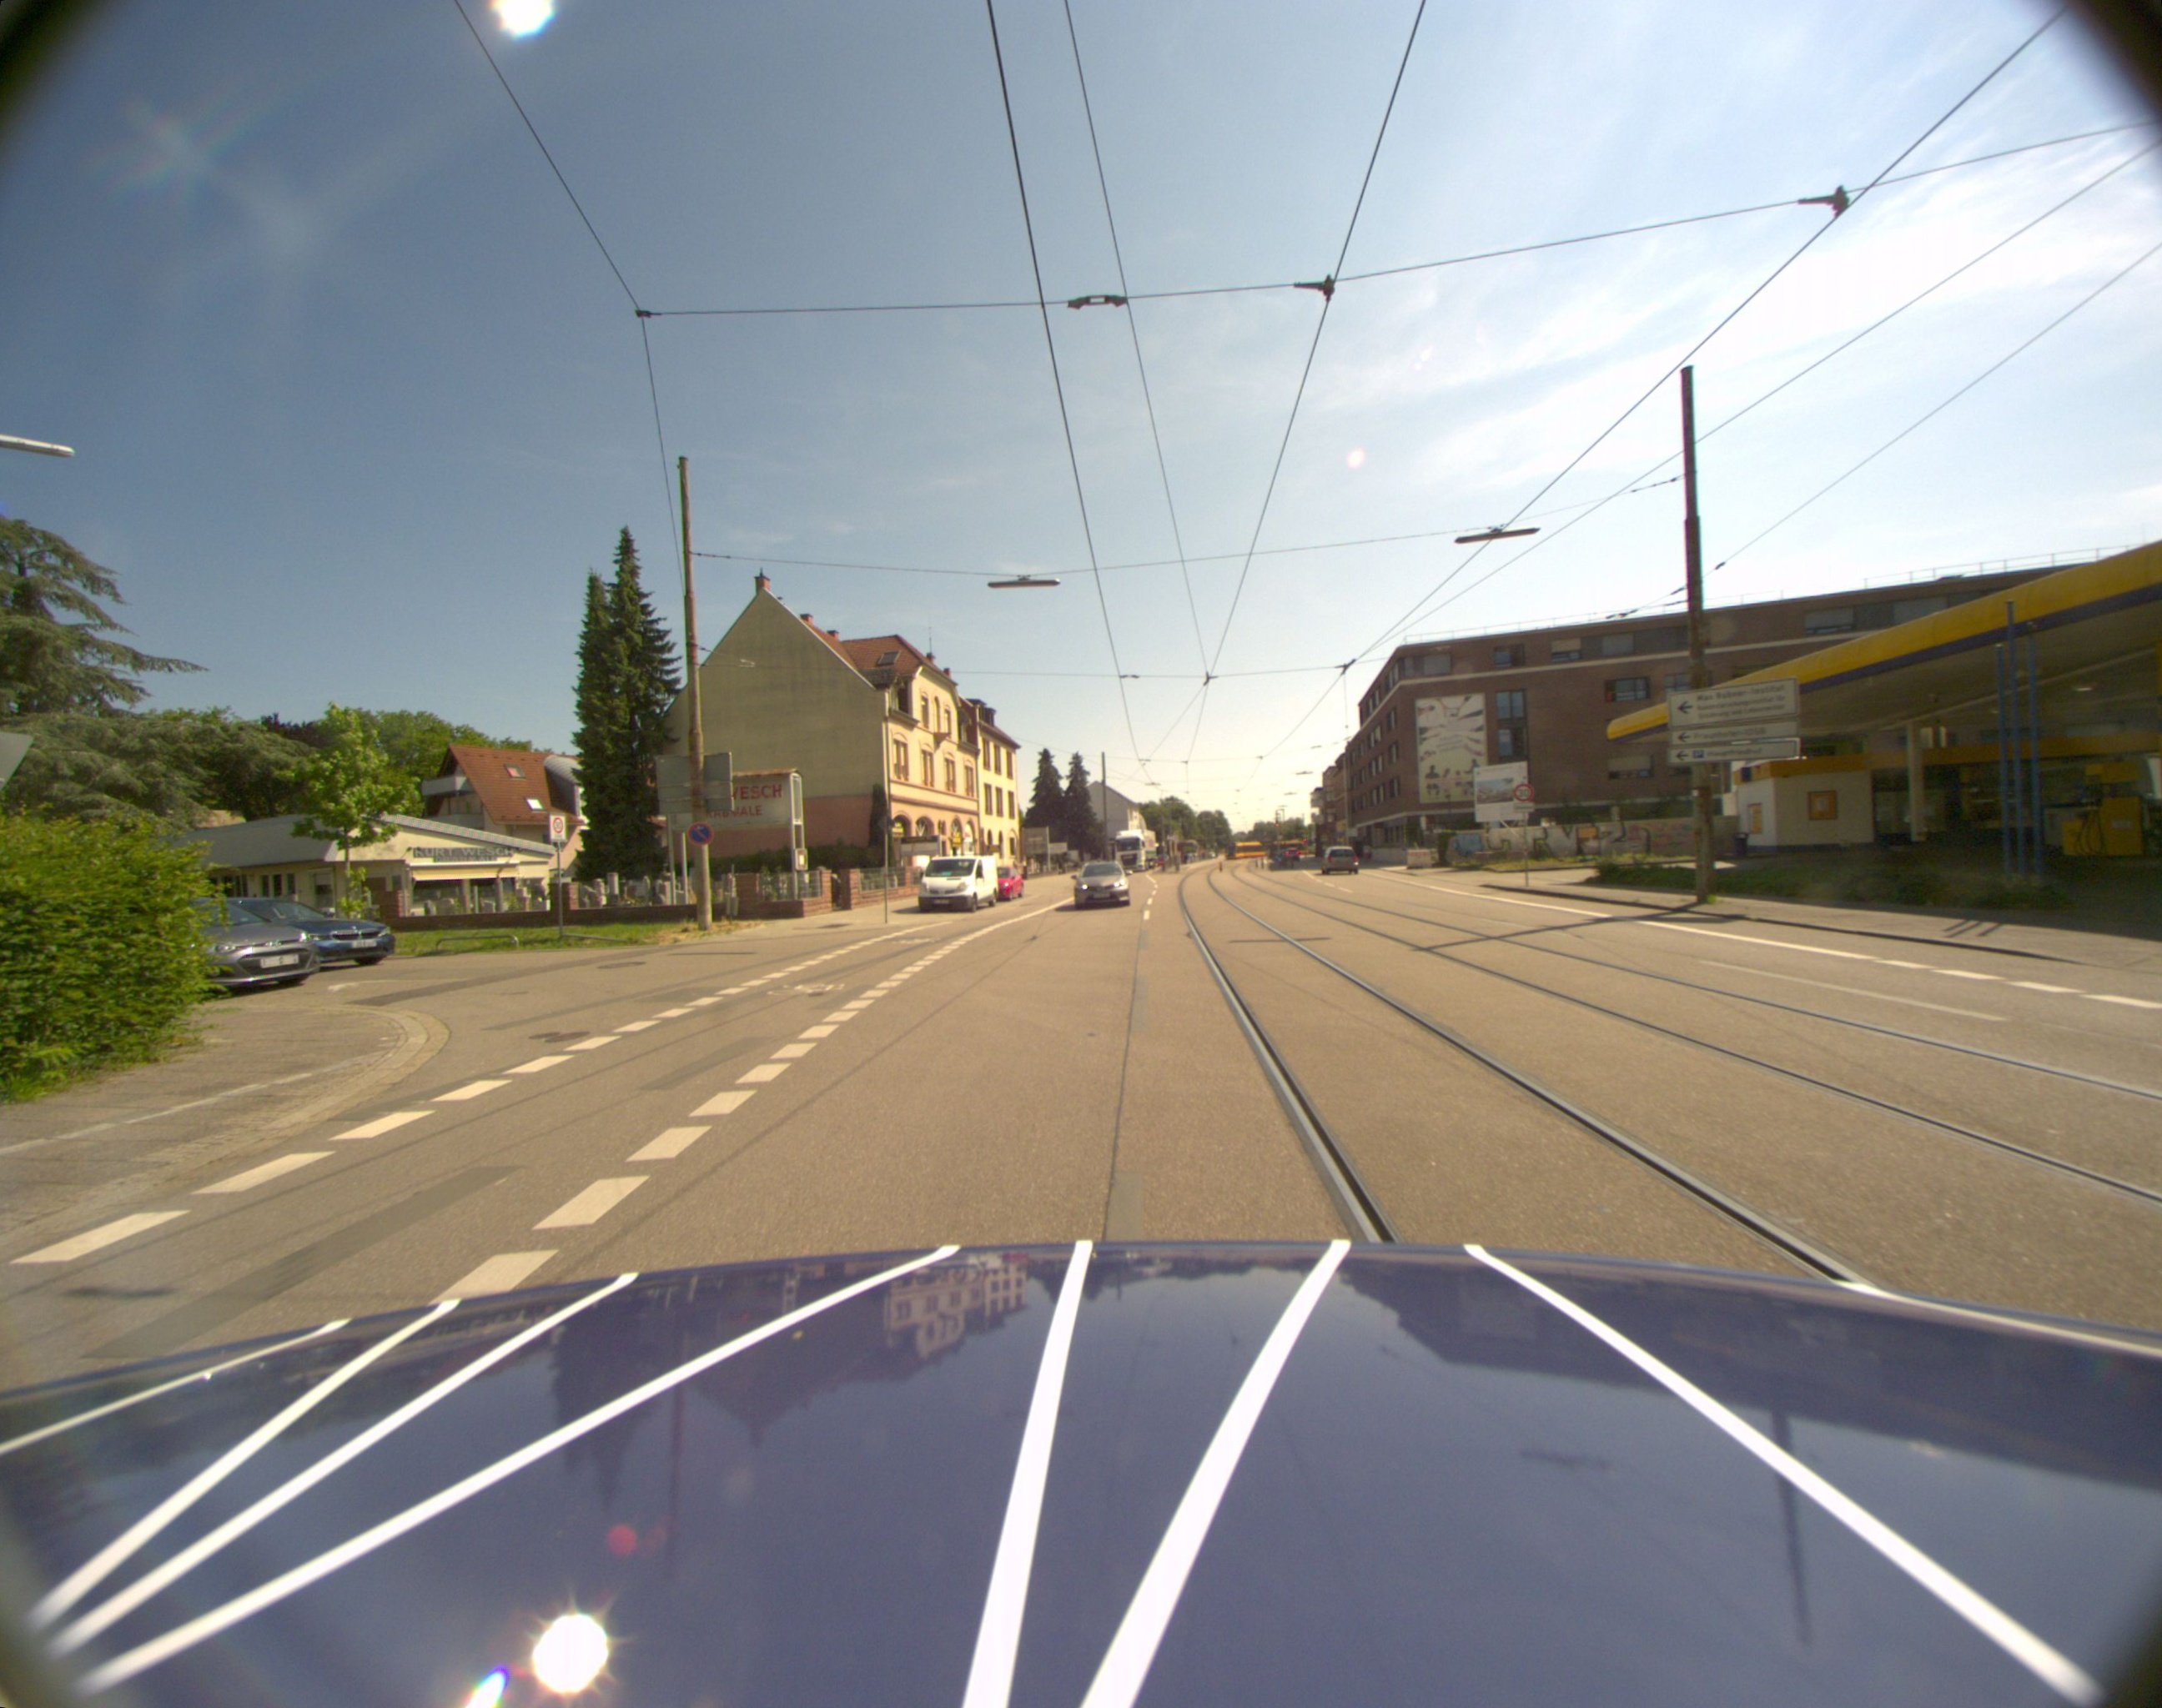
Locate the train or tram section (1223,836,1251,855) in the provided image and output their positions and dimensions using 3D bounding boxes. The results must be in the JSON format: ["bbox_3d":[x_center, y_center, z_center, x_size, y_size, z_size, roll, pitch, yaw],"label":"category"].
[{"bbox_3d":[31.741,-1.807,153.849,2.682,3.460,13.358,-3,0,23],"label":"train or tram section"}]

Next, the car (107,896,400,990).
[{"bbox_3d":[-15.058,1.602,13.943,3.753,1.380,1.672,-3,0,6],"label":"car"}]

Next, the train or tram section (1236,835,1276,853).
[{"bbox_3d":[38.144,-2.185,164.876,2.681,3.460,13.364,-2,0,39],"label":"train or tram section"}]

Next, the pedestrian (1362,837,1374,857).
[{"bbox_3d":[26.641,-0.672,70.477,0.846,1.808,0.839,-3,0,13],"label":"pedestrian"}]

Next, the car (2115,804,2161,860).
[{"bbox_3d":[26.270,-0.553,17.222,1.698,1.295,4.397,-5,0,30],"label":"car"}]

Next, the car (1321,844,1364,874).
[{"bbox_3d":[14.772,0.251,43.090,1.749,1.562,3.894,-2,1,11],"label":"car"}]

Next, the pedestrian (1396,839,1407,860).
[{"bbox_3d":[25.018,-0.362,59.250,0.582,1.654,0.700,-3,0,11],"label":"pedestrian"}]

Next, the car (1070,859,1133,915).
[{"bbox_3d":[0.745,0.984,24.383,1.695,1.440,4.482,-4,0,4],"label":"car"}]

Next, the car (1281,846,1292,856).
[{"bbox_3d":[33.494,-0.453,123.818,1.628,1.460,3.869,-3,-1,13],"label":"car"}]

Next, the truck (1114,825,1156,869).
[{"bbox_3d":[5.235,-0.642,72.052,2.654,3.772,7.871,-2,0,13],"label":"truck"}]

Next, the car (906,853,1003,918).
[{"bbox_3d":[-4.316,1.010,26.900,1.980,2.043,5.193,-1,0,7],"label":"car"}]

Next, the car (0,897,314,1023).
[{"bbox_3d":[-13.448,1.475,10.820,3.601,1.464,1.593,-3,0,6],"label":"car"}]

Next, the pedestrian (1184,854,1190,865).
[{"bbox_3d":[12.835,0.632,91.632,0.630,1.247,0.710,-2,0,12],"label":"pedestrian"}]

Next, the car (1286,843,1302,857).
[{"bbox_3d":[28.099,-0.493,100.252,1.804,1.718,4.193,-4,-1,13],"label":"car"}]

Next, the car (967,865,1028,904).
[{"bbox_3d":[-3.552,1.281,33.179,1.725,1.435,4.314,-1,0,6],"label":"car"}]

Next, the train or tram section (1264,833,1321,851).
[{"bbox_3d":[47.892,-2.706,171.921,13.348,3.460,2.684,-3,0,-19],"label":"train or tram section"}]

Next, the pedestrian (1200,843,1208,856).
[{"bbox_3d":[18.214,-0.629,112.199,0.982,1.847,1.239,-2,0,13],"label":"pedestrian"}]
